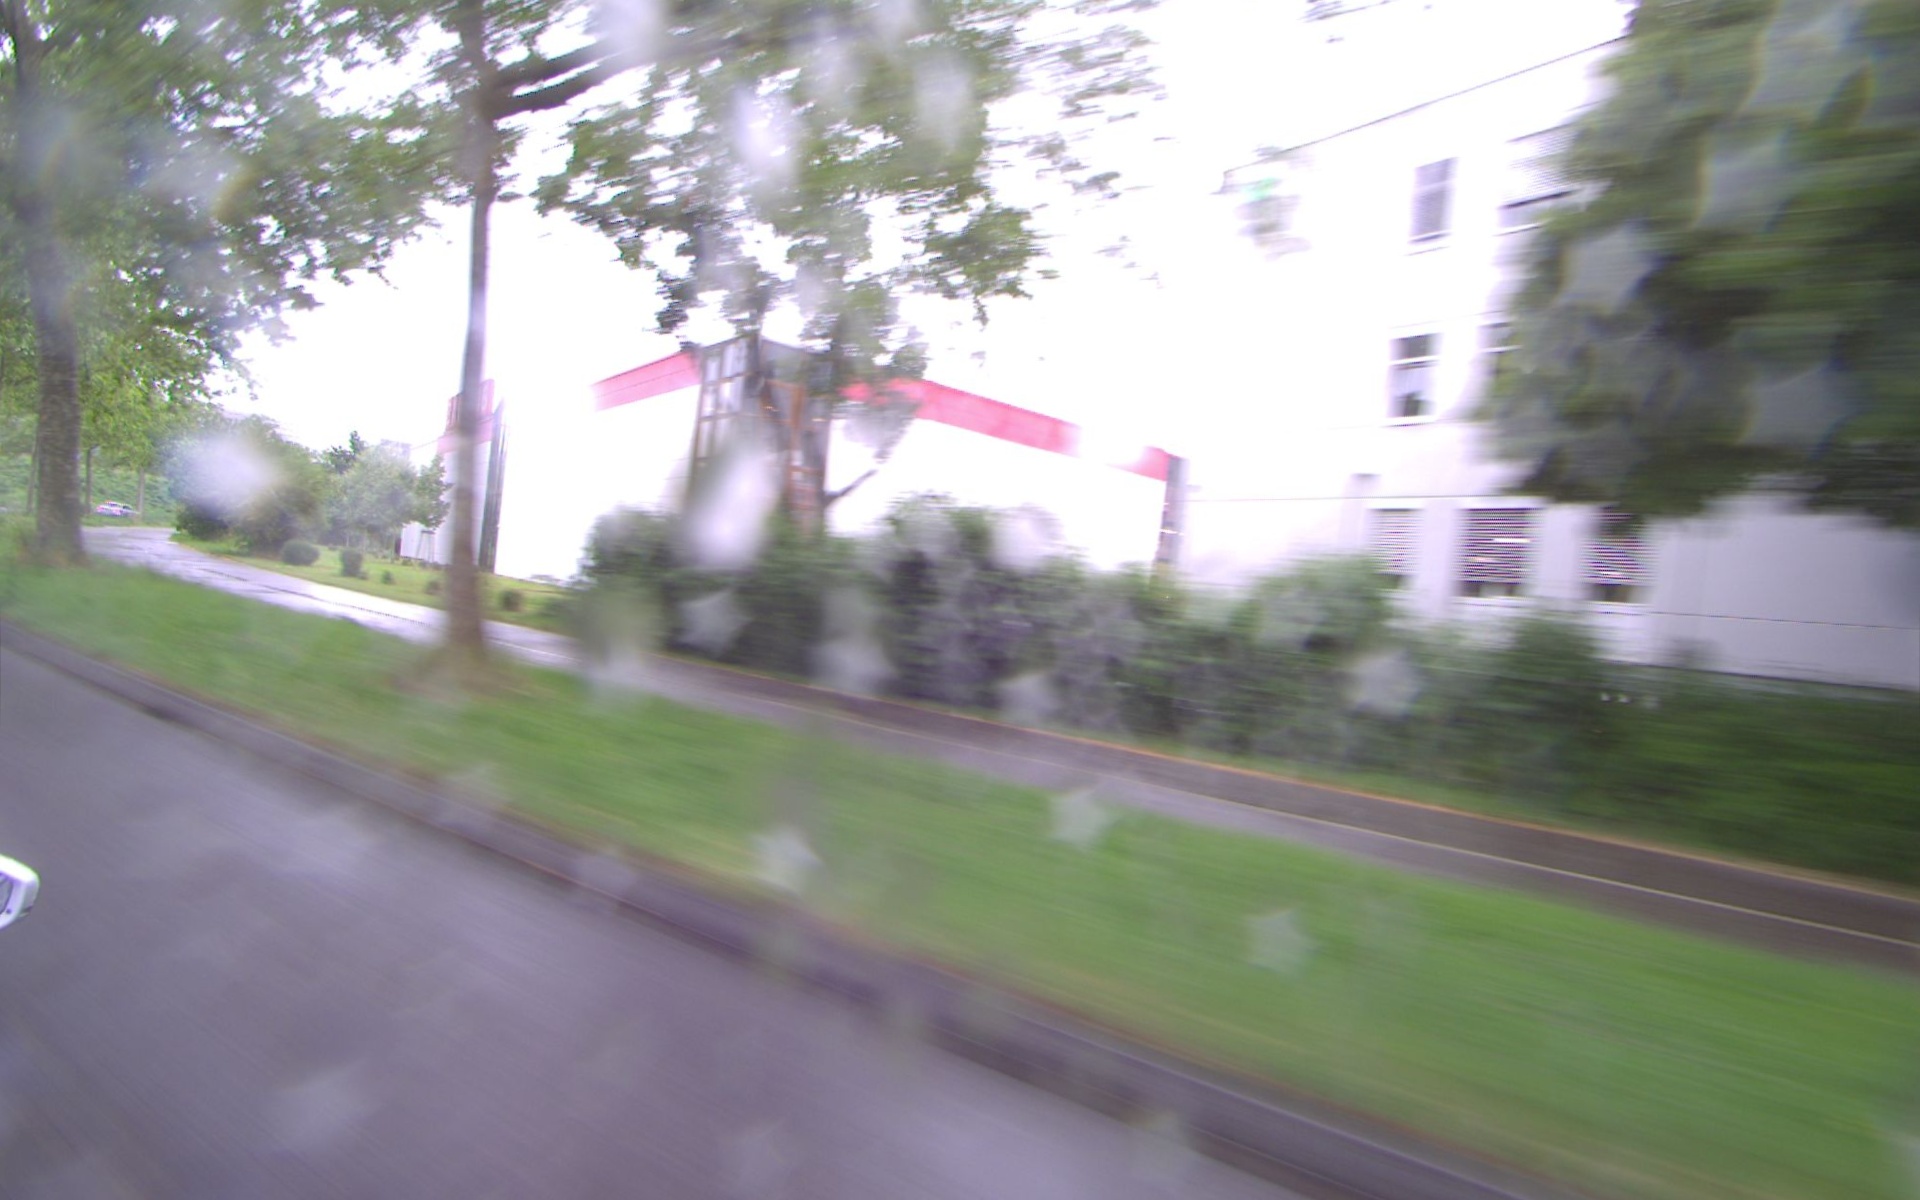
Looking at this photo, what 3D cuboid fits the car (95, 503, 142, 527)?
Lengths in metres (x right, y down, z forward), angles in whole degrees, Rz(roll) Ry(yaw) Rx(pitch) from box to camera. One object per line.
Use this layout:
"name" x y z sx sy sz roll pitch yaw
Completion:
"car" -71.164 -7.161 85.120 1.763 1.574 3.977 9 -1 -23
